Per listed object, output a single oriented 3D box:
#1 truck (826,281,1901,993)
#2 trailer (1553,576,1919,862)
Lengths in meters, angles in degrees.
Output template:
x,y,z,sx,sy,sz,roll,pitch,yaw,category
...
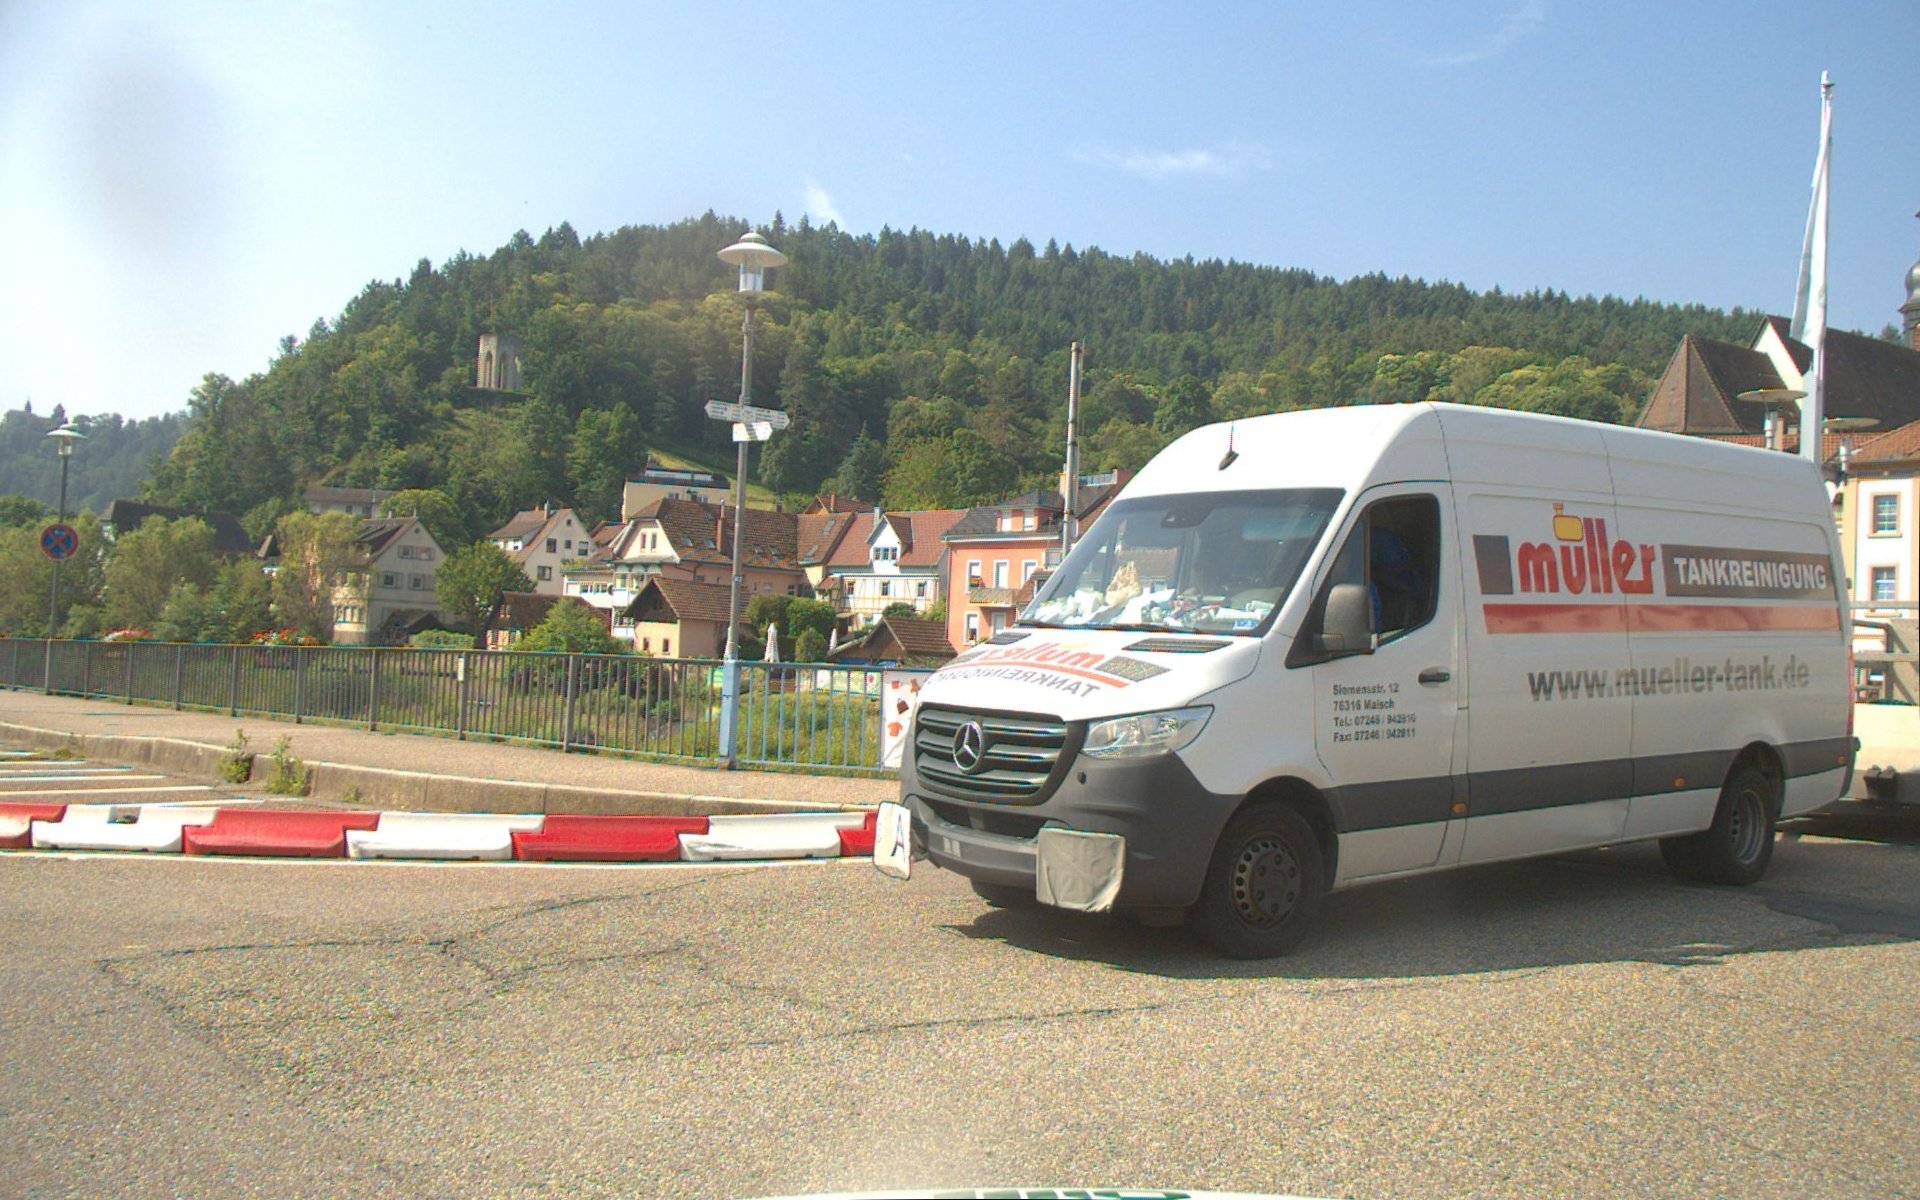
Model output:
x,y,z,sx,sy,sz,roll,pitch,yaw,category
2.756,0.215,9.418,7.061,2.746,2.083,2,-1,-39,truck
7.585,0.873,13.540,5.579,1.860,2.584,3,-2,-38,trailer
